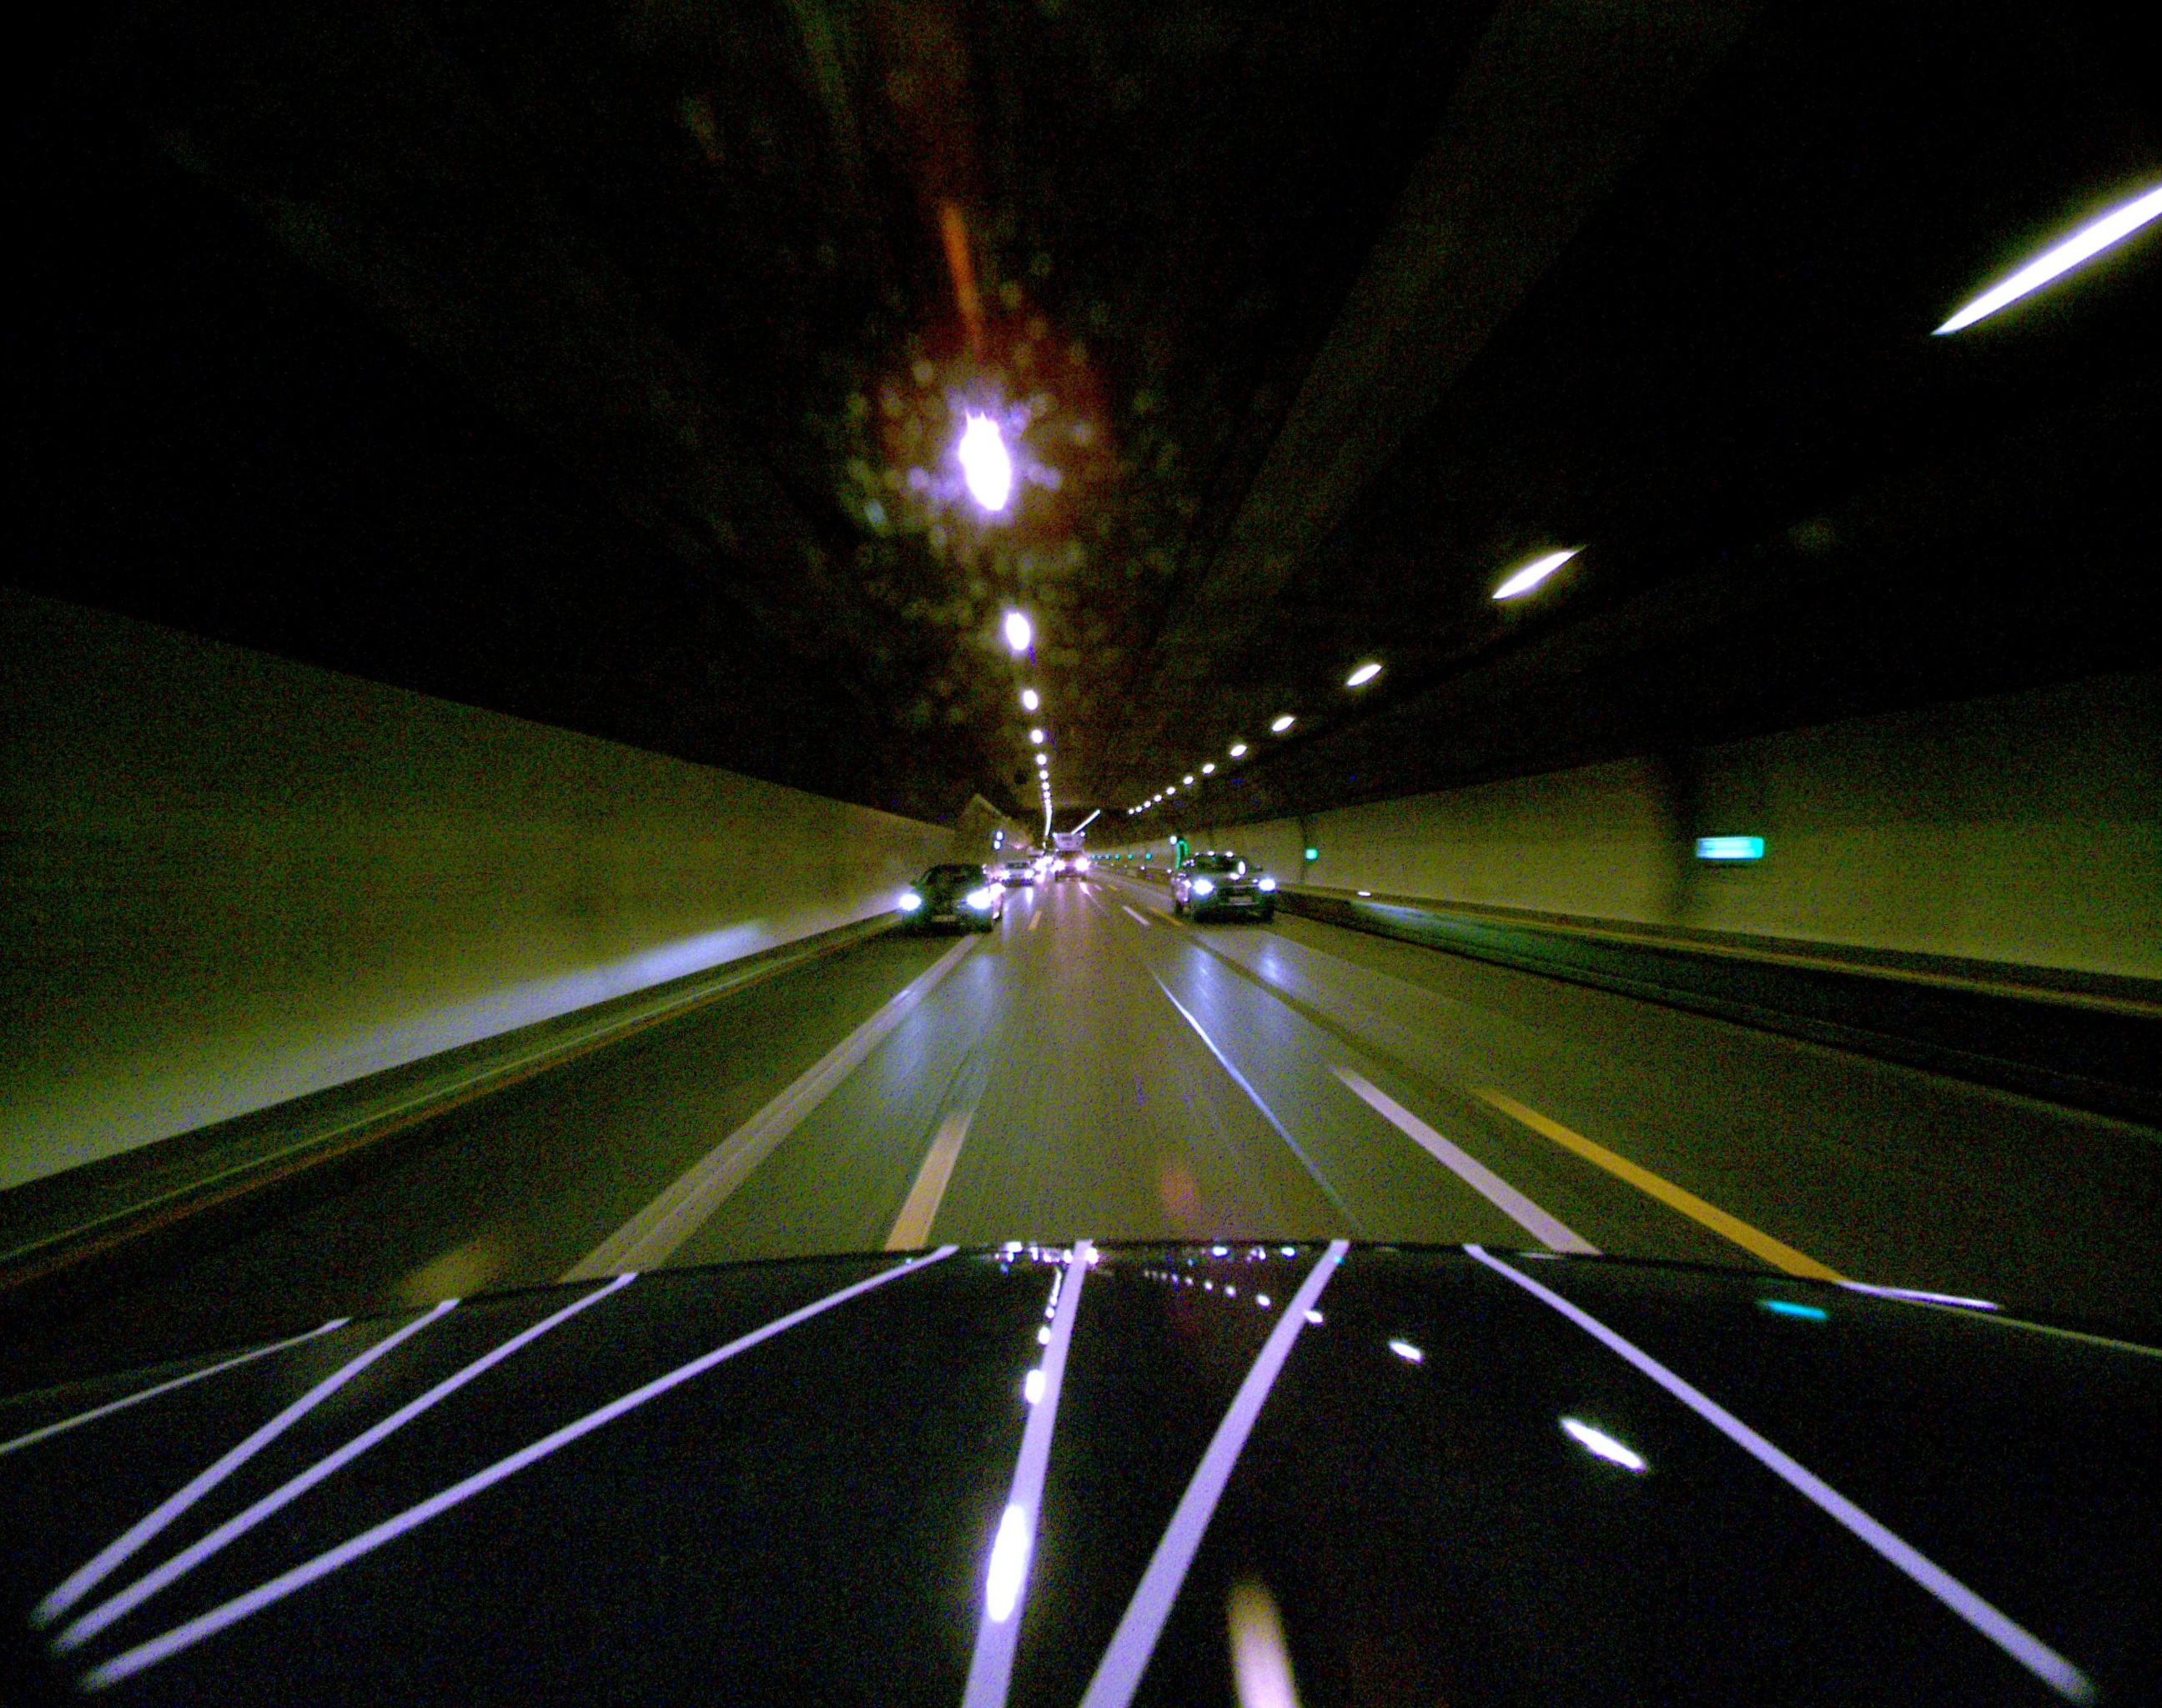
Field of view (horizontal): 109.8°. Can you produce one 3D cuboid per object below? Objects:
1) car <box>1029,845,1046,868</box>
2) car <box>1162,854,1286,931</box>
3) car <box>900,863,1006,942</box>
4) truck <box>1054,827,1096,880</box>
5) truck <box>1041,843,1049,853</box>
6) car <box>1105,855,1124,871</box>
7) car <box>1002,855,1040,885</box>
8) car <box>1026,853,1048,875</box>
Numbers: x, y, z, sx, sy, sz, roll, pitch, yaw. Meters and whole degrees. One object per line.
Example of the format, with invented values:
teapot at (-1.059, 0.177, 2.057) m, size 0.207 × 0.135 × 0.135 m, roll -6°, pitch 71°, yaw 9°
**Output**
car at (-5.468, 0.288, 97.221) m, size 1.999 × 2.710 × 6.272 m, roll -2°, pitch 1°, yaw -2°
car at (3.317, 0.822, 18.628) m, size 1.999 × 1.531 × 4.741 m, roll -2°, pitch 1°, yaw -1°
car at (-2.803, 1.007, 17.572) m, size 1.826 × 1.469 × 4.520 m, roll -2°, pitch 0°, yaw -2°
truck at (-0.523, -0.052, 52.260) m, size 2.534 × 3.314 × 7.714 m, roll -2°, pitch 0°, yaw -2°
truck at (-12.506, -2.065, 262.137) m, size 2.208 × 3.449 × 11.763 m, roll -1°, pitch 0°, yaw -1°
car at (3.654, 0.988, 83.894) m, size 1.998 × 1.531 × 4.851 m, roll -2°, pitch 1°, yaw 1°
car at (-3.415, 0.902, 44.051) m, size 1.999 × 1.531 × 4.741 m, roll -2°, pitch 1°, yaw -2°
car at (-4.308, 0.969, 74.059) m, size 1.999 × 2.002 × 4.852 m, roll -2°, pitch 0°, yaw -4°
